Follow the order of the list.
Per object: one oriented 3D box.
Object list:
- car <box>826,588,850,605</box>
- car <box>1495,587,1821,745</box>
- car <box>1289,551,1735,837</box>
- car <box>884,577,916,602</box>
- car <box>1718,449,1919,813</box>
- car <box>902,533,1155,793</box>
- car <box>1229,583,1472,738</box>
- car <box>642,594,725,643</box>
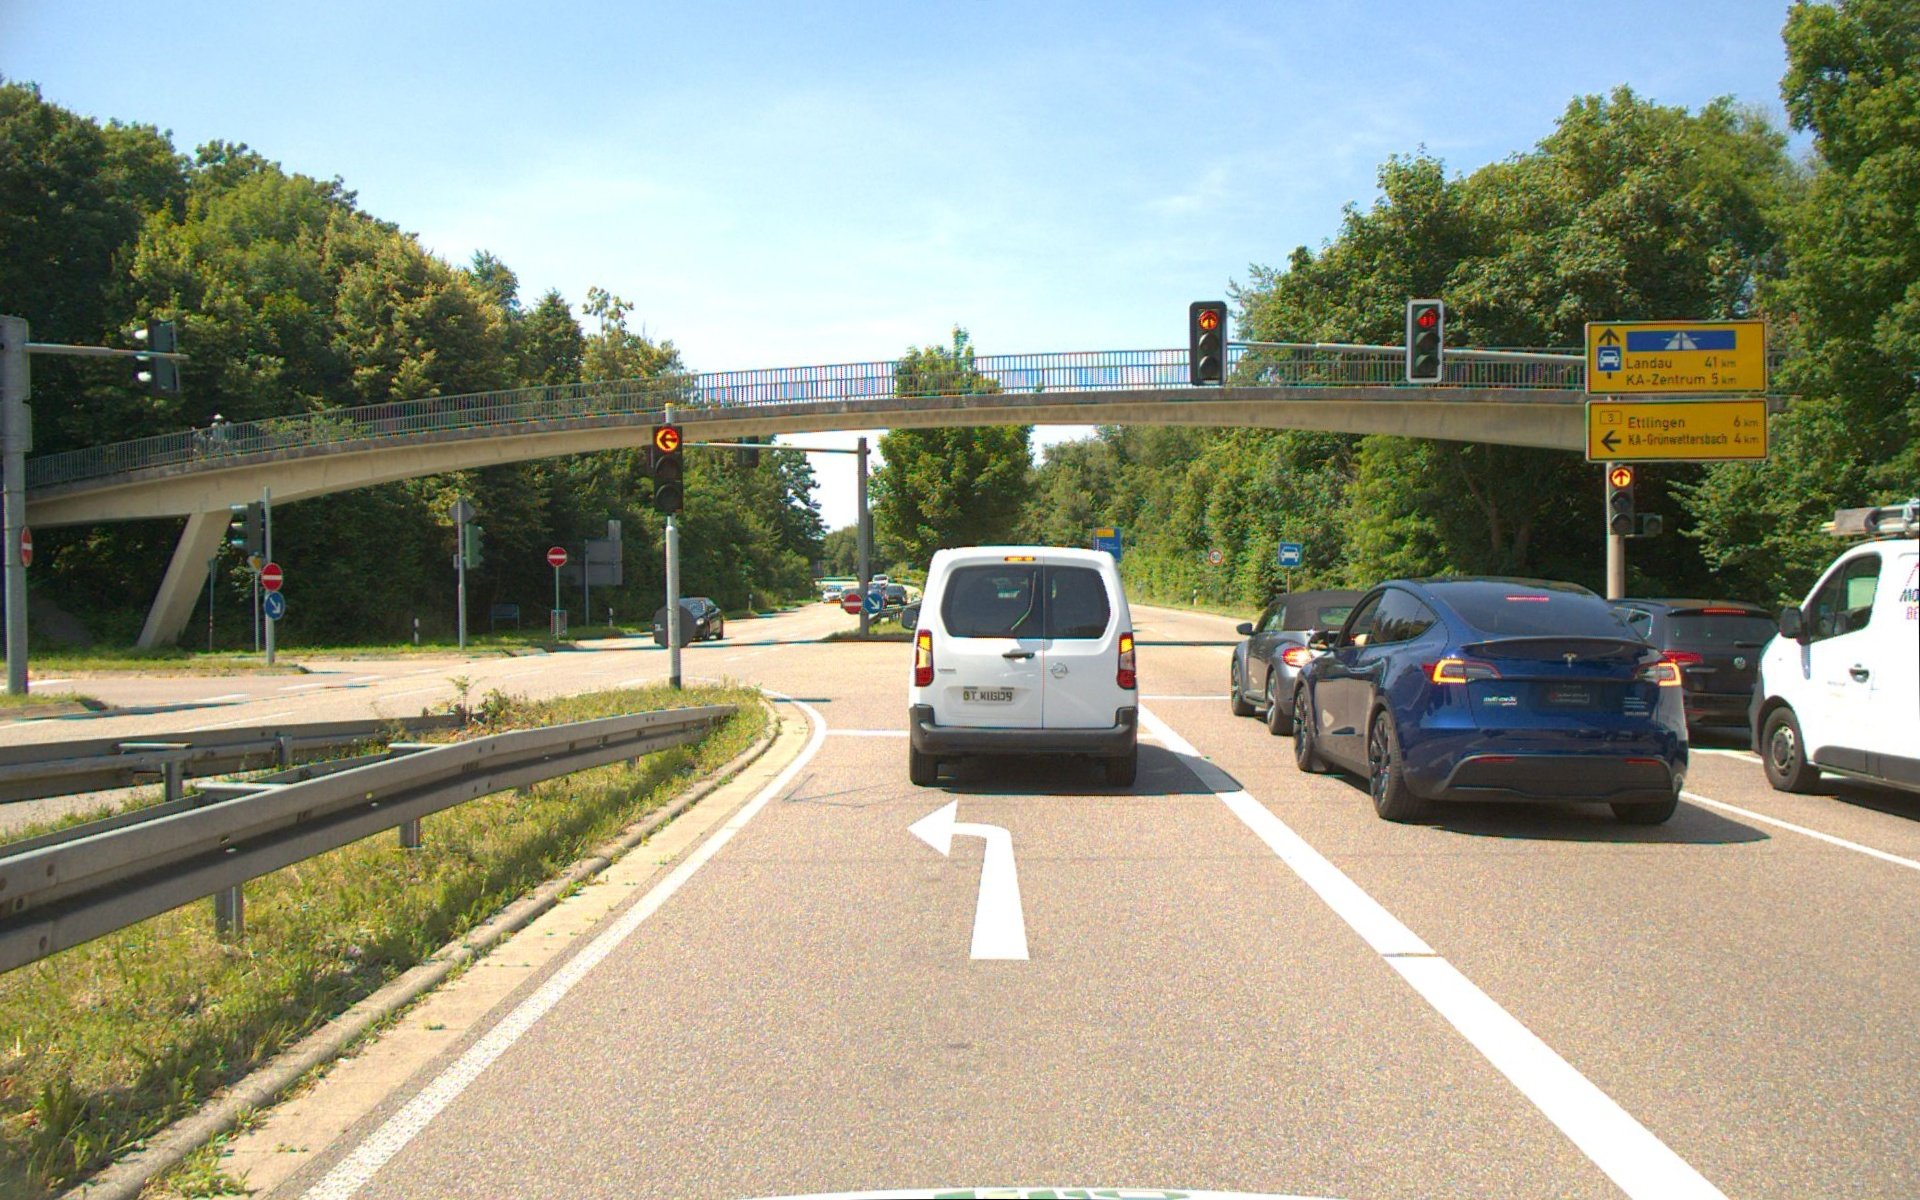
[{"bbox_3d":[-11.163,-0.337,151.253,1.716,1.431,4.001,-1,1,2],"label":"car"},{"bbox_3d":[7.530,0.628,18.352,1.861,1.503,4.381,1,1,2],"label":"car"},{"bbox_3d":[3.731,0.535,12.104,1.861,1.673,4.521,1,1,2],"label":"car"},{"bbox_3d":[-4.260,-0.703,117.456,1.952,1.713,4.001,1,0,2],"label":"car"},{"bbox_3d":[7.263,0.214,11.318,1.892,2.390,5.076,1,0,1],"label":"car"},{"bbox_3d":[0.529,0.419,13.981,1.811,1.857,3.982,1,1,1],"label":"car"},{"bbox_3d":[4.203,0.582,18.405,1.861,1.503,3.940,1,1,2],"label":"car"},{"bbox_3d":[-9.250,0.591,55.696,1.966,1.486,4.056,-2,0,2],"label":"car"}]
